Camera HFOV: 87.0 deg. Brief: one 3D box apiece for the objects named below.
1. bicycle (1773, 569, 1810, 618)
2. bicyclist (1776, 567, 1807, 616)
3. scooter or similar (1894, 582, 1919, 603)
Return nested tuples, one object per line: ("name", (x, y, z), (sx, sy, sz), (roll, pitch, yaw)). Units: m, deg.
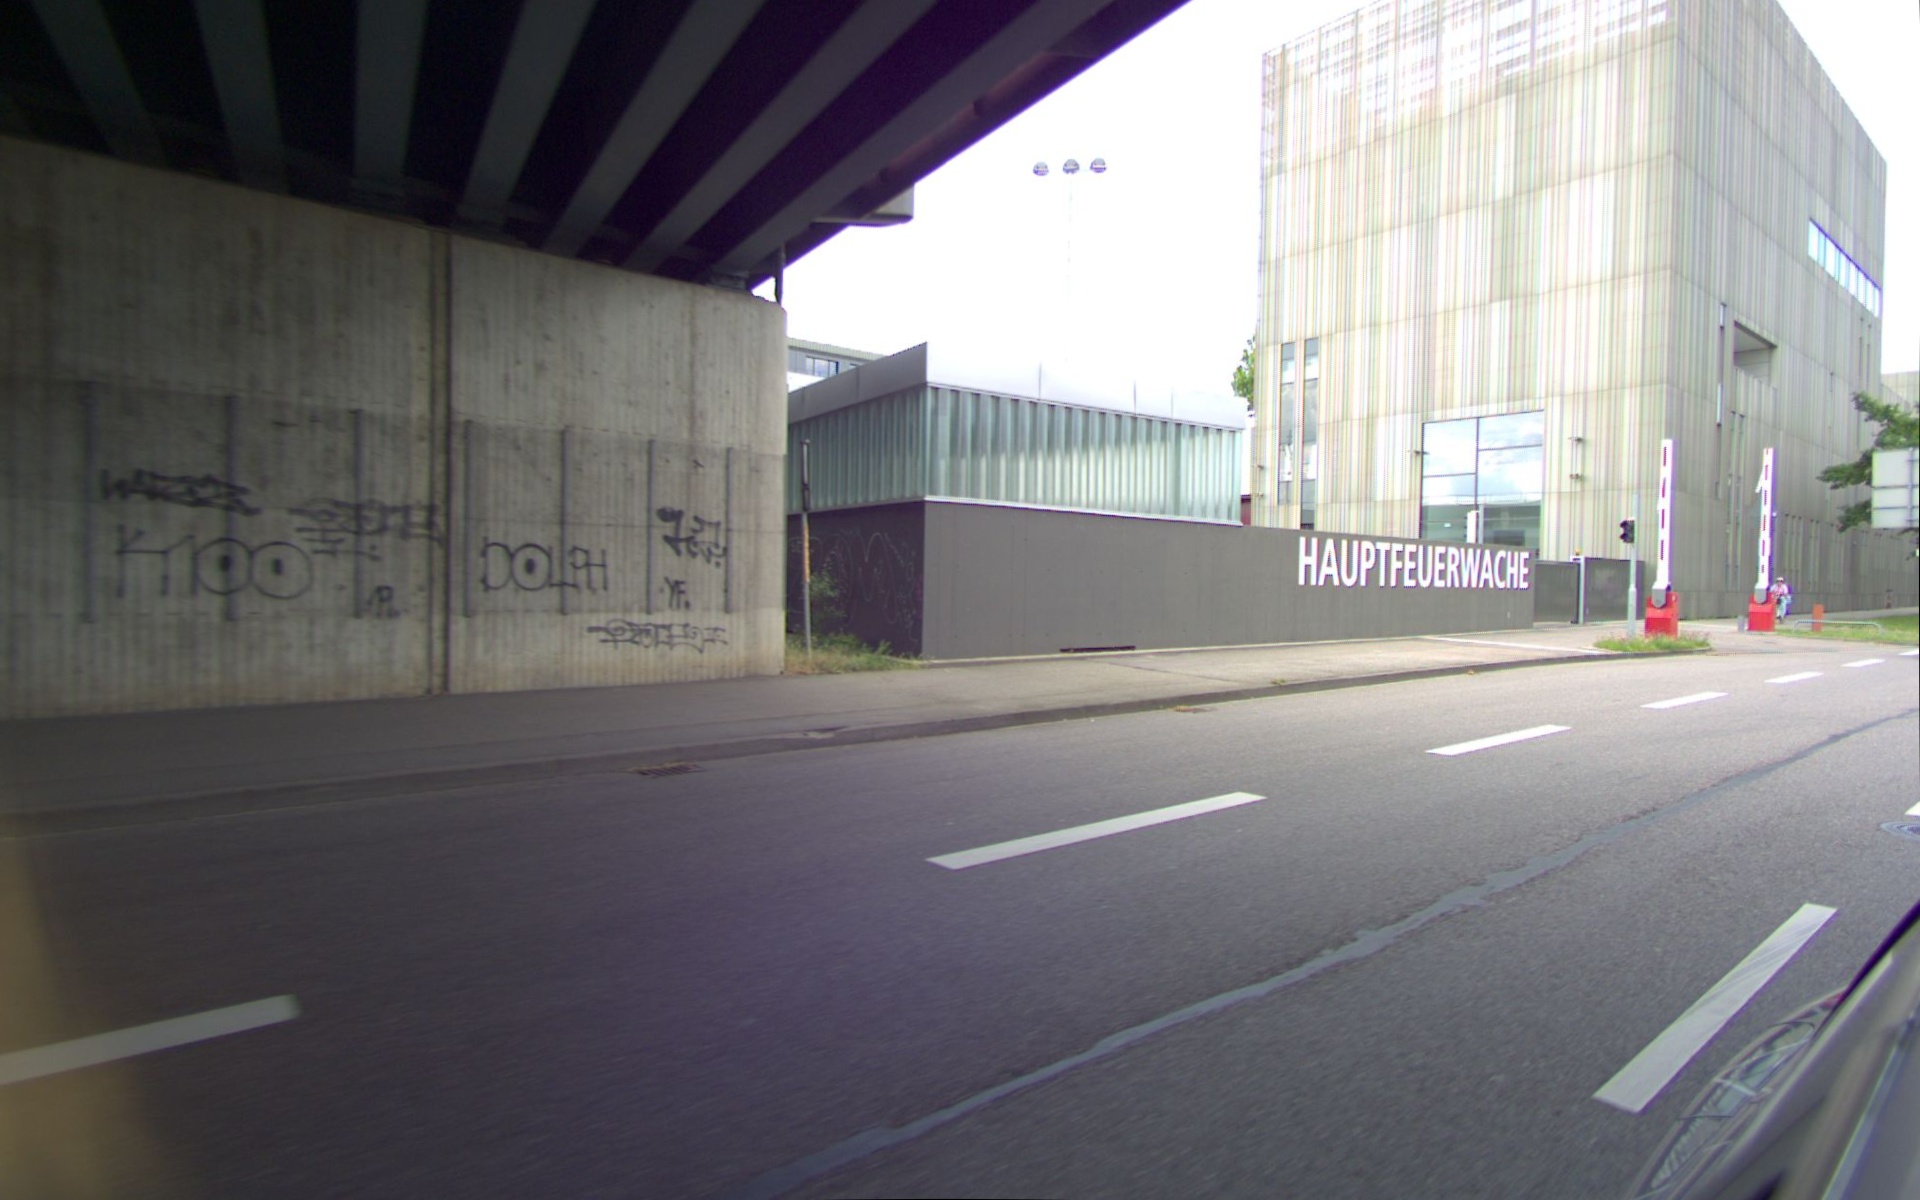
("bicycle", (31.316, -0.251, 38.102), (2.491, 1.795, 0.720), (-1, 2, -43))
("bicyclist", (31.207, -0.331, 37.994), (0.972, 1.790, 0.716), (0, 2, -42))
("scooter or similar", (58.717, -0.450, 62.778), (2.435, 1.261, 0.706), (-1, 3, -39))
